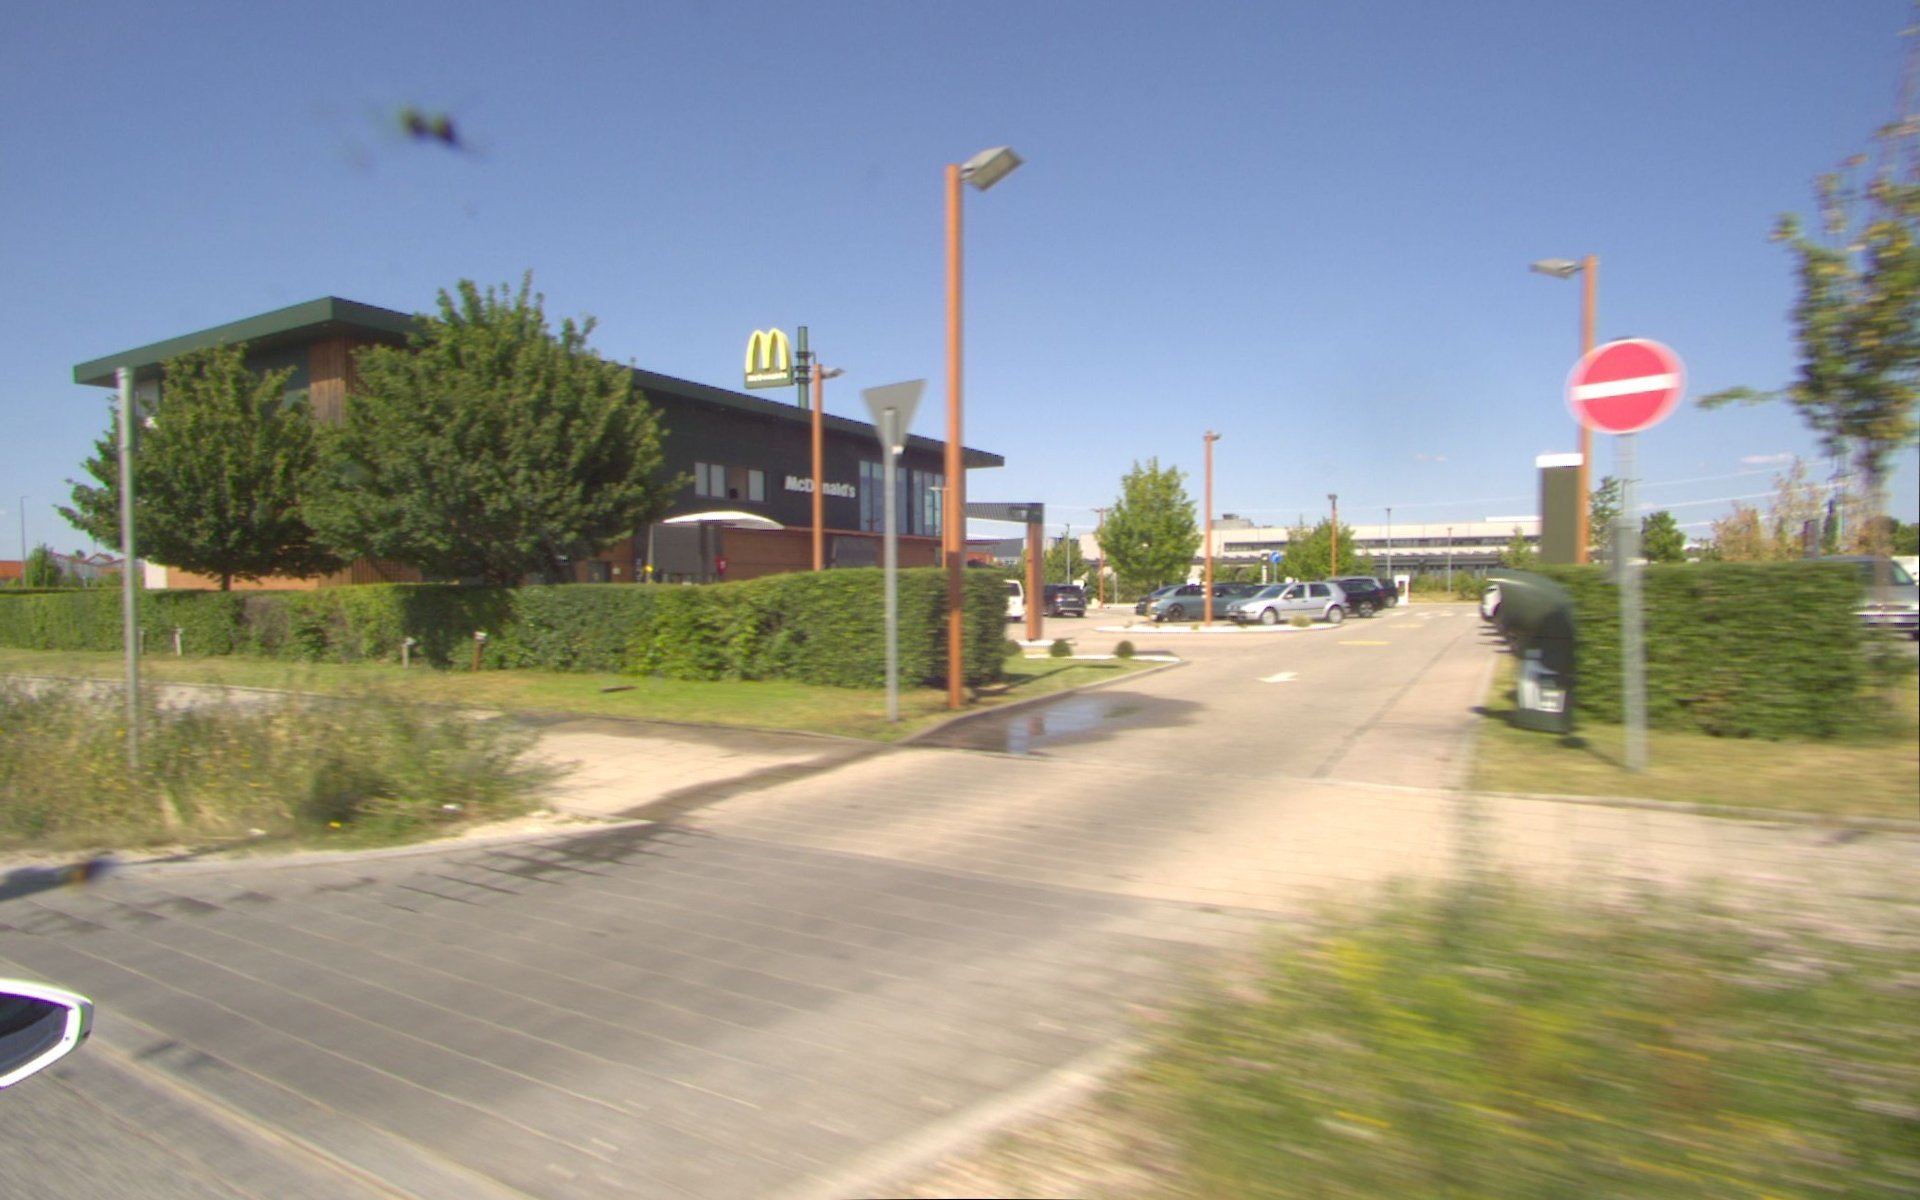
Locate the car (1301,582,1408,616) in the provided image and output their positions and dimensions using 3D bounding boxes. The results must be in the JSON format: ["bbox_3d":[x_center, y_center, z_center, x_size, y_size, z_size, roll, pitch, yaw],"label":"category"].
[{"bbox_3d":[17.329,-0.040,44.022,4.104,1.391,1.796,-1,1,-14],"label":"car"}]

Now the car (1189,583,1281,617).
[{"bbox_3d":[13.684,-0.006,49.859,4.104,1.598,1.796,-1,1,-14],"label":"car"}]

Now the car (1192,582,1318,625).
[{"bbox_3d":[10.496,0.106,35.685,3.927,1.391,1.796,-1,1,-14],"label":"car"}]

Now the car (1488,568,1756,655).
[{"bbox_3d":[12.584,0.182,19.390,1.760,1.481,4.160,-1,1,-17],"label":"car"}]

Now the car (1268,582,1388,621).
[{"bbox_3d":[14.318,0.041,38.992,4.104,1.391,1.796,-1,1,-14],"label":"car"}]

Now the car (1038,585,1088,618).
[{"bbox_3d":[5.051,0.067,49.643,1.764,1.541,3.998,-1,1,-4],"label":"car"}]

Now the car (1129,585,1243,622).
[{"bbox_3d":[9.084,0.115,40.381,4.104,1.391,1.796,-1,1,-14],"label":"car"}]

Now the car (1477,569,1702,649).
[{"bbox_3d":[13.939,0.165,22.492,1.760,1.600,4.160,-1,1,-17],"label":"car"}]

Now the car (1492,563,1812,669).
[{"bbox_3d":[10.989,0.203,16.312,1.672,1.481,4.160,-1,1,-17],"label":"car"}]

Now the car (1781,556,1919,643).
[{"bbox_3d":[18.918,-0.027,21.072,1.764,1.657,4.150,0,1,28],"label":"car"}]

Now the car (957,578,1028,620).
[{"bbox_3d":[1.365,-0.062,43.691,1.767,1.725,3.990,-1,1,-19],"label":"car"}]

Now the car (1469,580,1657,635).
[{"bbox_3d":[15.740,0.164,26.414,1.760,1.315,4.160,-1,1,-17],"label":"car"}]

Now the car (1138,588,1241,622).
[{"bbox_3d":[10.253,0.215,44.837,4.104,1.391,1.796,-1,1,-14],"label":"car"}]

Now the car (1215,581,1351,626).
[{"bbox_3d":[10.703,0.105,33.248,3.927,1.391,1.796,-1,1,-14],"label":"car"}]

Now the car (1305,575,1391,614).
[{"bbox_3d":[18.950,-0.268,49.124,1.760,1.781,4.160,-1,1,-17],"label":"car"}]
